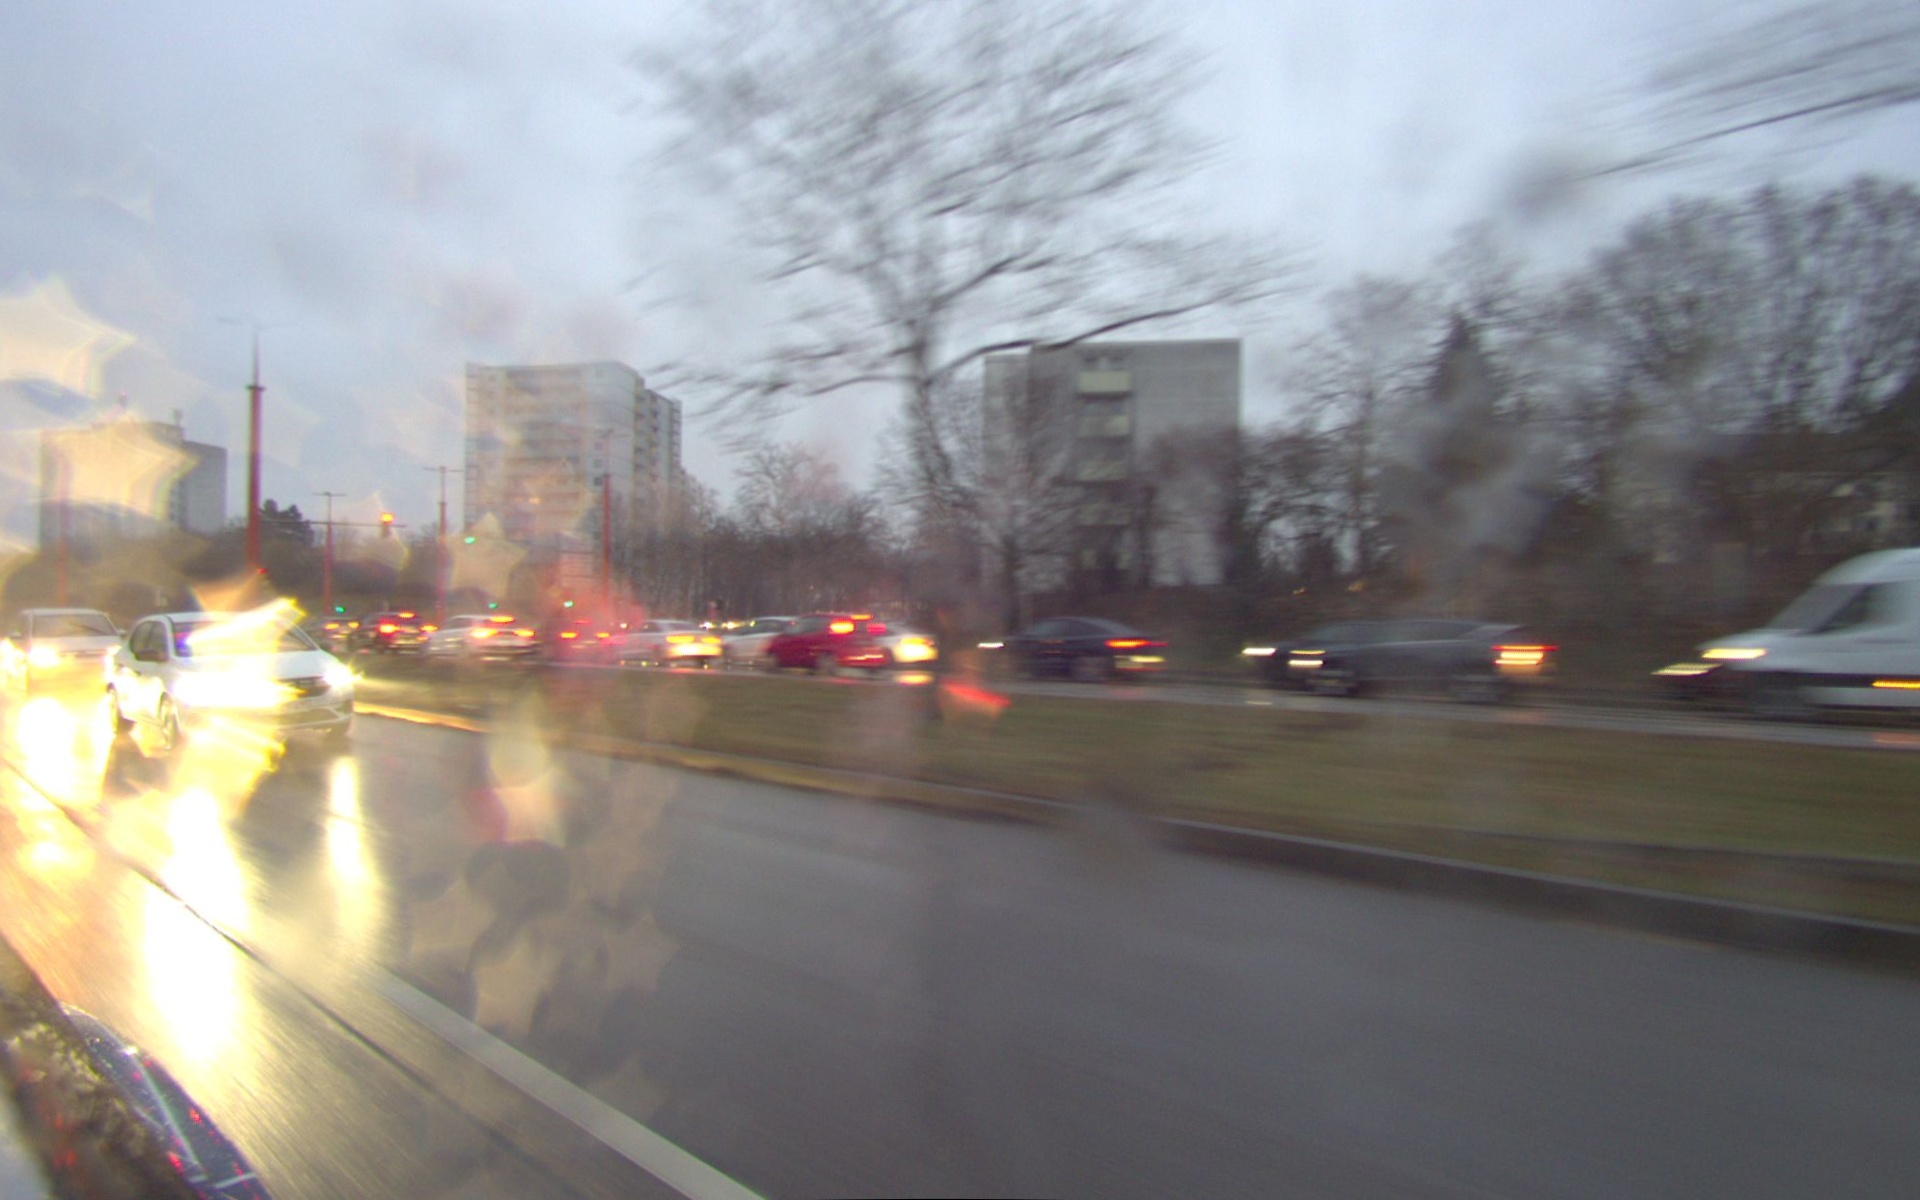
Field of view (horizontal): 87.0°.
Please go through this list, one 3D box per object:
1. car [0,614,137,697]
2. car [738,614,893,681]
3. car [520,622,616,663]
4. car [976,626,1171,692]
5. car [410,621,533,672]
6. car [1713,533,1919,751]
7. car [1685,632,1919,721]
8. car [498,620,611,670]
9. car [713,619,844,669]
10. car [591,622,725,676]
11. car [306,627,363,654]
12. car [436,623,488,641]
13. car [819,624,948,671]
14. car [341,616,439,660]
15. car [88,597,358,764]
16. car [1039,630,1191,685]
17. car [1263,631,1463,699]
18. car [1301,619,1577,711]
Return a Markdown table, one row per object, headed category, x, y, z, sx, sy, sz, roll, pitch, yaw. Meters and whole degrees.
| category | x | y | z | sx | sy | sz | roll | pitch | yaw |
| --- | --- | --- | --- | --- | --- | --- | --- | --- | --- |
| car | -18.847 | 1.077 | 21.230 | 4.186 | 1.551 | 1.673 | -1 | 0 | 40 |
| car | -3.788 | 1.180 | 26.218 | 4.030 | 1.598 | 1.752 | -1 | -2 | 40 |
| car | -15.812 | 1.669 | 40.744 | 3.998 | 1.546 | 1.973 | -1 | -1 | 41 |
| car | 2.736 | 1.391 | 25.080 | 4.646 | 1.501 | 1.752 | -1 | -2 | 40 |
| car | -15.857 | 1.455 | 32.732 | 4.837 | 1.548 | 1.752 | -1 | -2 | 40 |
| car | 15.104 | 0.577 | 14.022 | 7.345 | 3.027 | 2.267 | 0 | 0 | 42 |
| car | 15.363 | 1.294 | 17.905 | 3.997 | 1.409 | 1.738 | -1 | -2 | 40 |
| car | -14.044 | 1.510 | 34.994 | 4.284 | 1.611 | 1.838 | -1 | -2 | 40 |
| car | -5.894 | 1.390 | 32.601 | 4.436 | 1.506 | 1.752 | -1 | -2 | 40 |
| car | -9.290 | 1.444 | 30.962 | 4.521 | 1.545 | 1.752 | -1 | -2 | 40 |
| car | -37.899 | 2.443 | 61.264 | 3.943 | 1.565 | 1.752 | -1 | -2 | 40 |
| car | -45.237 | 2.899 | 92.061 | 1.834 | 1.556 | 4.421 | 0 | -2 | 14 |
| car | -2.647 | 1.564 | 34.464 | 4.436 | 1.506 | 1.752 | -1 | -2 | 40 |
| car | -21.868 | 1.446 | 38.785 | 4.073 | 1.594 | 1.839 | -1 | -2 | 37 |
| car | -8.888 | 0.837 | 12.081 | 4.144 | 1.660 | 1.696 | -1 | -2 | 41 |
| car | 4.395 | 1.594 | 29.008 | 3.997 | 1.409 | 1.738 | -1 | -2 | 40 |
| car | 9.328 | 1.452 | 23.565 | 3.997 | 1.409 | 1.738 | -1 | -2 | 40 |
| car | 9.016 | 1.152 | 19.296 | 4.444 | 1.548 | 1.751 | -1 | -2 | 42 |
